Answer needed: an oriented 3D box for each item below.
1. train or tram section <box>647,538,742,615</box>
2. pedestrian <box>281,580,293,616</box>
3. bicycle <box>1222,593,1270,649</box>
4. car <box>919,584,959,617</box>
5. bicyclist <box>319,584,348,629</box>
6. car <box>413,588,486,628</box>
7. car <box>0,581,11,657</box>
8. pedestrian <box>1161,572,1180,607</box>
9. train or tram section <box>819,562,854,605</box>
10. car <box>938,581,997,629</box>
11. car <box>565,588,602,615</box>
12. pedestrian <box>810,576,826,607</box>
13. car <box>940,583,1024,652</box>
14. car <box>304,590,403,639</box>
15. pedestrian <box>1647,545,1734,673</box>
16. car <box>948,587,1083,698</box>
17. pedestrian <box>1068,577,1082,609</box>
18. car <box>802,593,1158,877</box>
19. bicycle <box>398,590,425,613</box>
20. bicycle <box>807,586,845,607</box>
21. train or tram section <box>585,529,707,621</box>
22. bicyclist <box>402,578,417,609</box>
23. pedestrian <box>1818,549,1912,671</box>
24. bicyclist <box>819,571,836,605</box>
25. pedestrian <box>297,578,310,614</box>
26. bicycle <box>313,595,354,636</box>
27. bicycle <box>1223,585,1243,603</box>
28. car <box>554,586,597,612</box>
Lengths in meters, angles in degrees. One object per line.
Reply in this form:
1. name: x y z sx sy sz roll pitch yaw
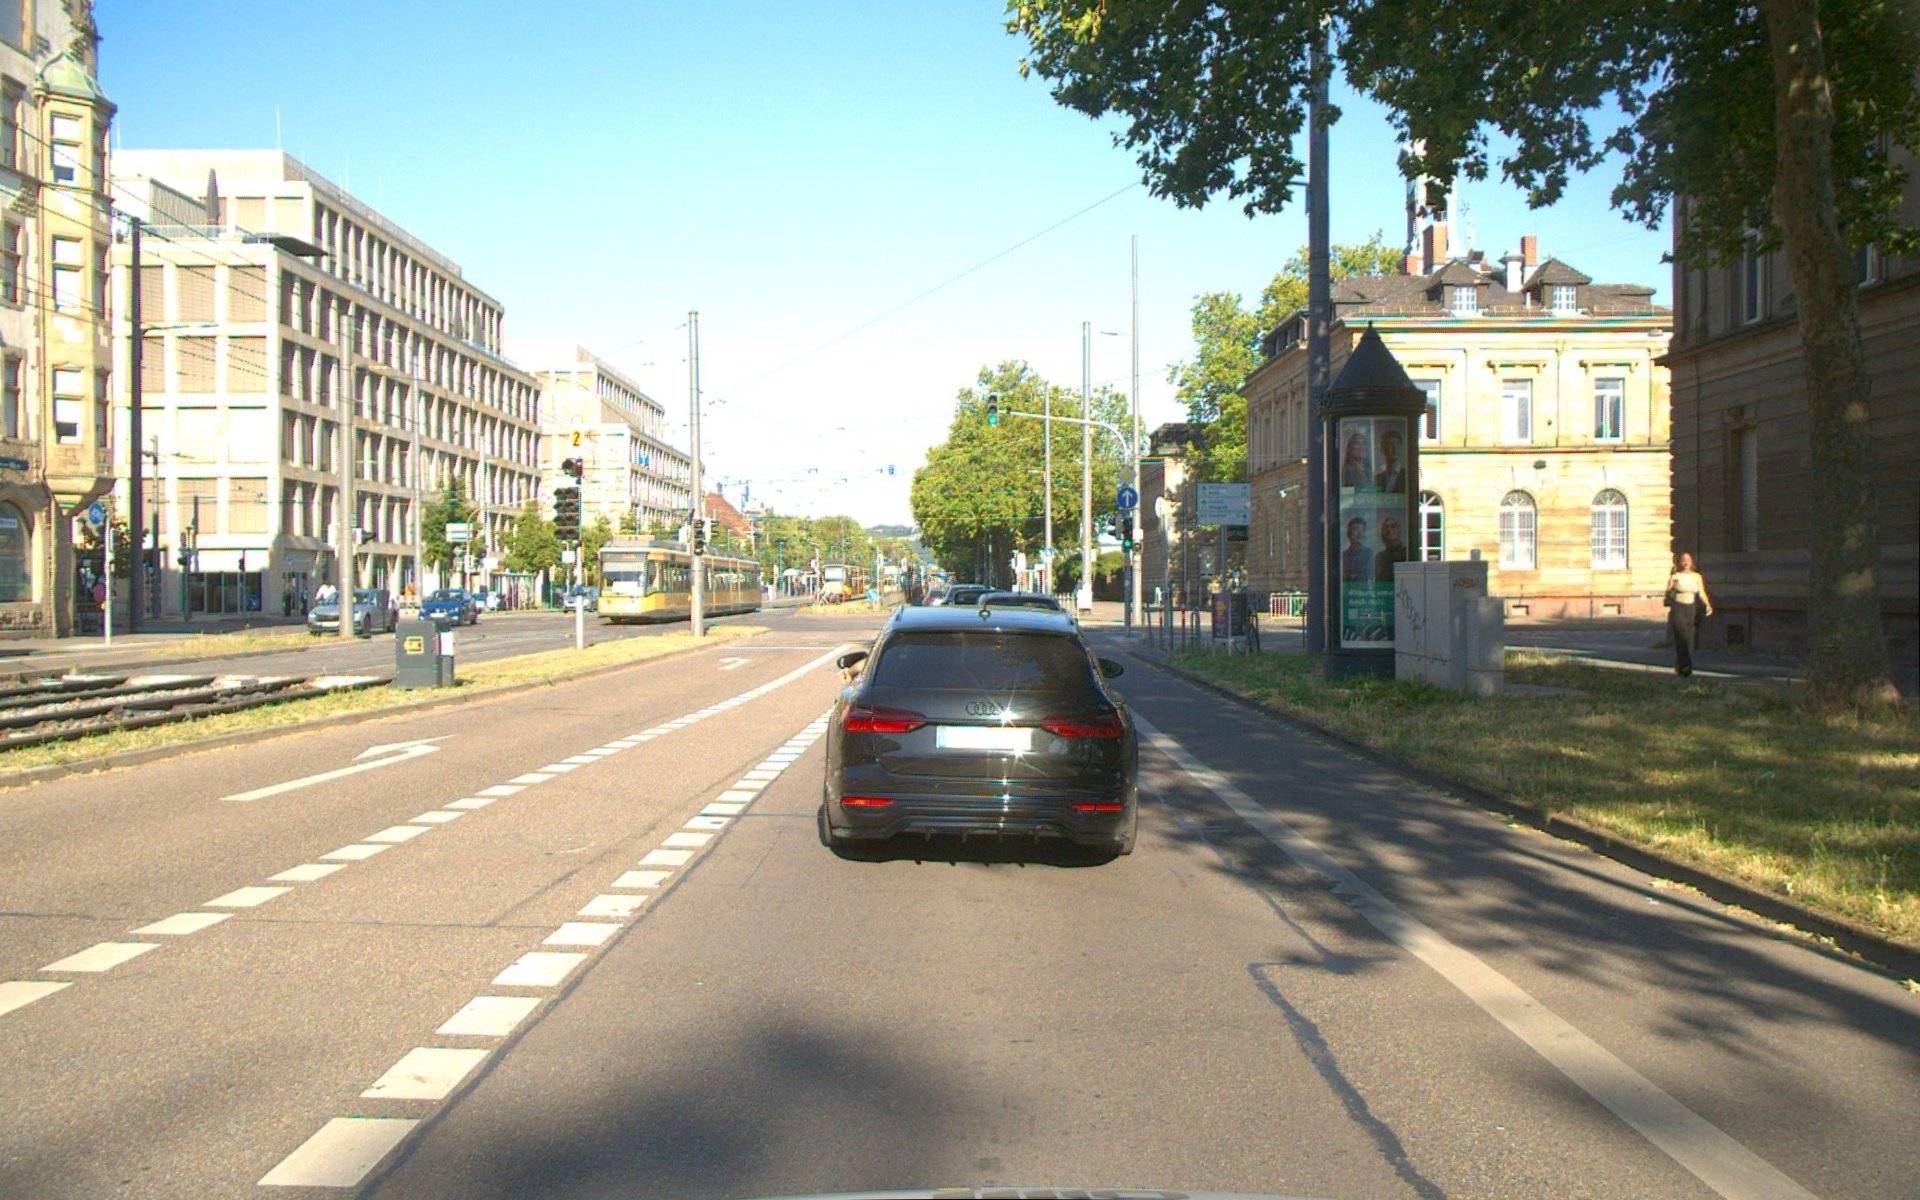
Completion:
1. train or tram section: -13.293 -1.164 83.986 2.755 3.550 13.202 -1 1 0
2. pedestrian: -35.152 -0.127 86.378 0.468 1.876 0.437 -1 0 -38
3. bicycle: 5.668 0.403 32.831 0.529 1.080 1.770 -1 0 -4
4. car: -0.992 0.011 80.963 1.864 1.512 4.144 1 1 0
5. bicyclist: -22.158 0.225 58.505 0.671 1.590 0.785 -1 0 1
6. car: -20.123 0.291 65.314 1.784 1.482 4.154 -1 0 -4
7. car: -22.416 0.433 35.550 1.682 1.704 4.215 2 1 -2
8. pedestrian: 11.723 -0.594 91.965 0.958 1.898 0.827 -1 0 2
9. train or tram section: -10.712 -1.439 144.326 2.556 3.511 11.128 -1 1 -2
10. car: 0.245 0.143 55.118 1.864 1.512 4.144 1 1 0
11. car: -26.878 0.102 118.168 1.804 1.844 4.112 -1 0 -1
12. pedestrian: -8.001 -0.484 93.297 0.729 1.772 0.660 -1 0 -20
13. car: 0.491 0.375 39.365 1.864 1.512 4.144 1 1 0
14. car: -19.645 0.425 53.751 1.784 1.482 4.537 -1 0 -4
15. pedestrian: 10.241 0.115 23.211 0.753 1.739 1.042 -1 0 1
16. car: 0.776 0.576 25.181 1.864 1.512 4.144 1 1 0
17. pedestrian: 6.055 -0.360 86.980 0.668 1.689 0.758 -1 0 -2
18. car: 0.108 0.709 10.840 1.864 1.446 4.144 1 1 0
19. bicycle: -30.489 0.082 91.970 0.563 1.236 2.390 -1 0 4
20. bicycle: -7.418 -0.198 91.846 1.976 1.127 0.760 -1 1 -20
21. train or tram section: -13.191 -1.038 70.770 2.755 3.550 13.202 -1 1 0
22. bicyclist: -30.516 -0.354 91.719 0.563 1.715 0.643 -1 0 4
23. pedestrian: 12.459 0.135 22.799 0.753 1.634 0.986 -1 0 1
24. bicyclist: -7.382 -0.663 91.863 0.745 1.850 0.760 -1 0 -20
25. pedestrian: -34.406 -0.219 86.705 0.527 1.876 0.437 -1 0 -39
26. bicycle: -22.152 0.525 58.505 0.671 1.406 1.947 -1 0 1
27. bicycle: 16.625 -0.390 100.624 0.516 1.065 2.355 -1 1 -8
28. car: -23.044 -0.063 99.185 1.783 1.482 4.154 -1 0 -3
